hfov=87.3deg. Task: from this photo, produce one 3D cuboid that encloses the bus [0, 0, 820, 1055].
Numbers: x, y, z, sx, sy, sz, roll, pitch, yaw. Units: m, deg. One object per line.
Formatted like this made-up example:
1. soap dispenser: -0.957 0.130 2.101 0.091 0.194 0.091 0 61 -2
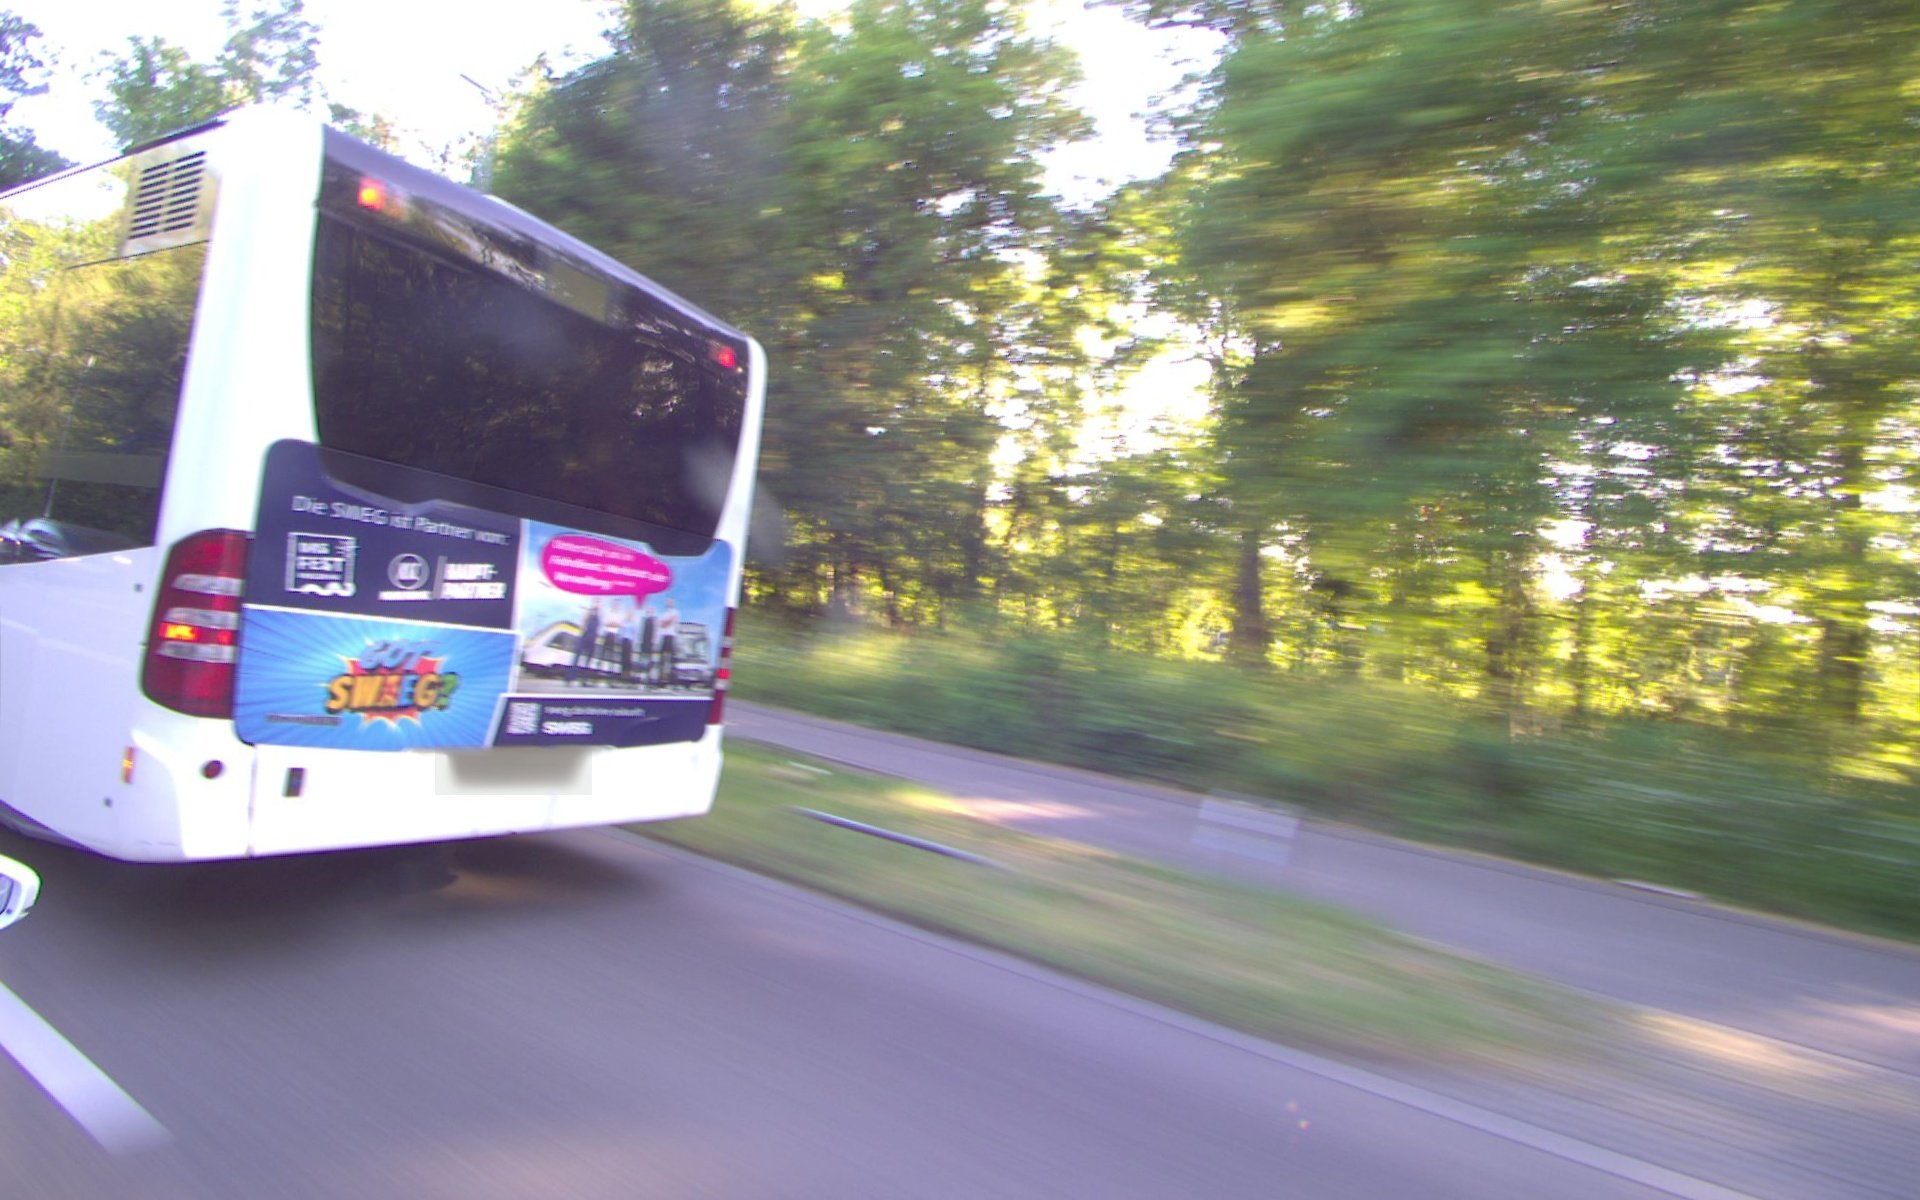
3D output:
1. bus: -6.706 -0.733 7.288 12.076 3.260 2.708 6 -1 32
